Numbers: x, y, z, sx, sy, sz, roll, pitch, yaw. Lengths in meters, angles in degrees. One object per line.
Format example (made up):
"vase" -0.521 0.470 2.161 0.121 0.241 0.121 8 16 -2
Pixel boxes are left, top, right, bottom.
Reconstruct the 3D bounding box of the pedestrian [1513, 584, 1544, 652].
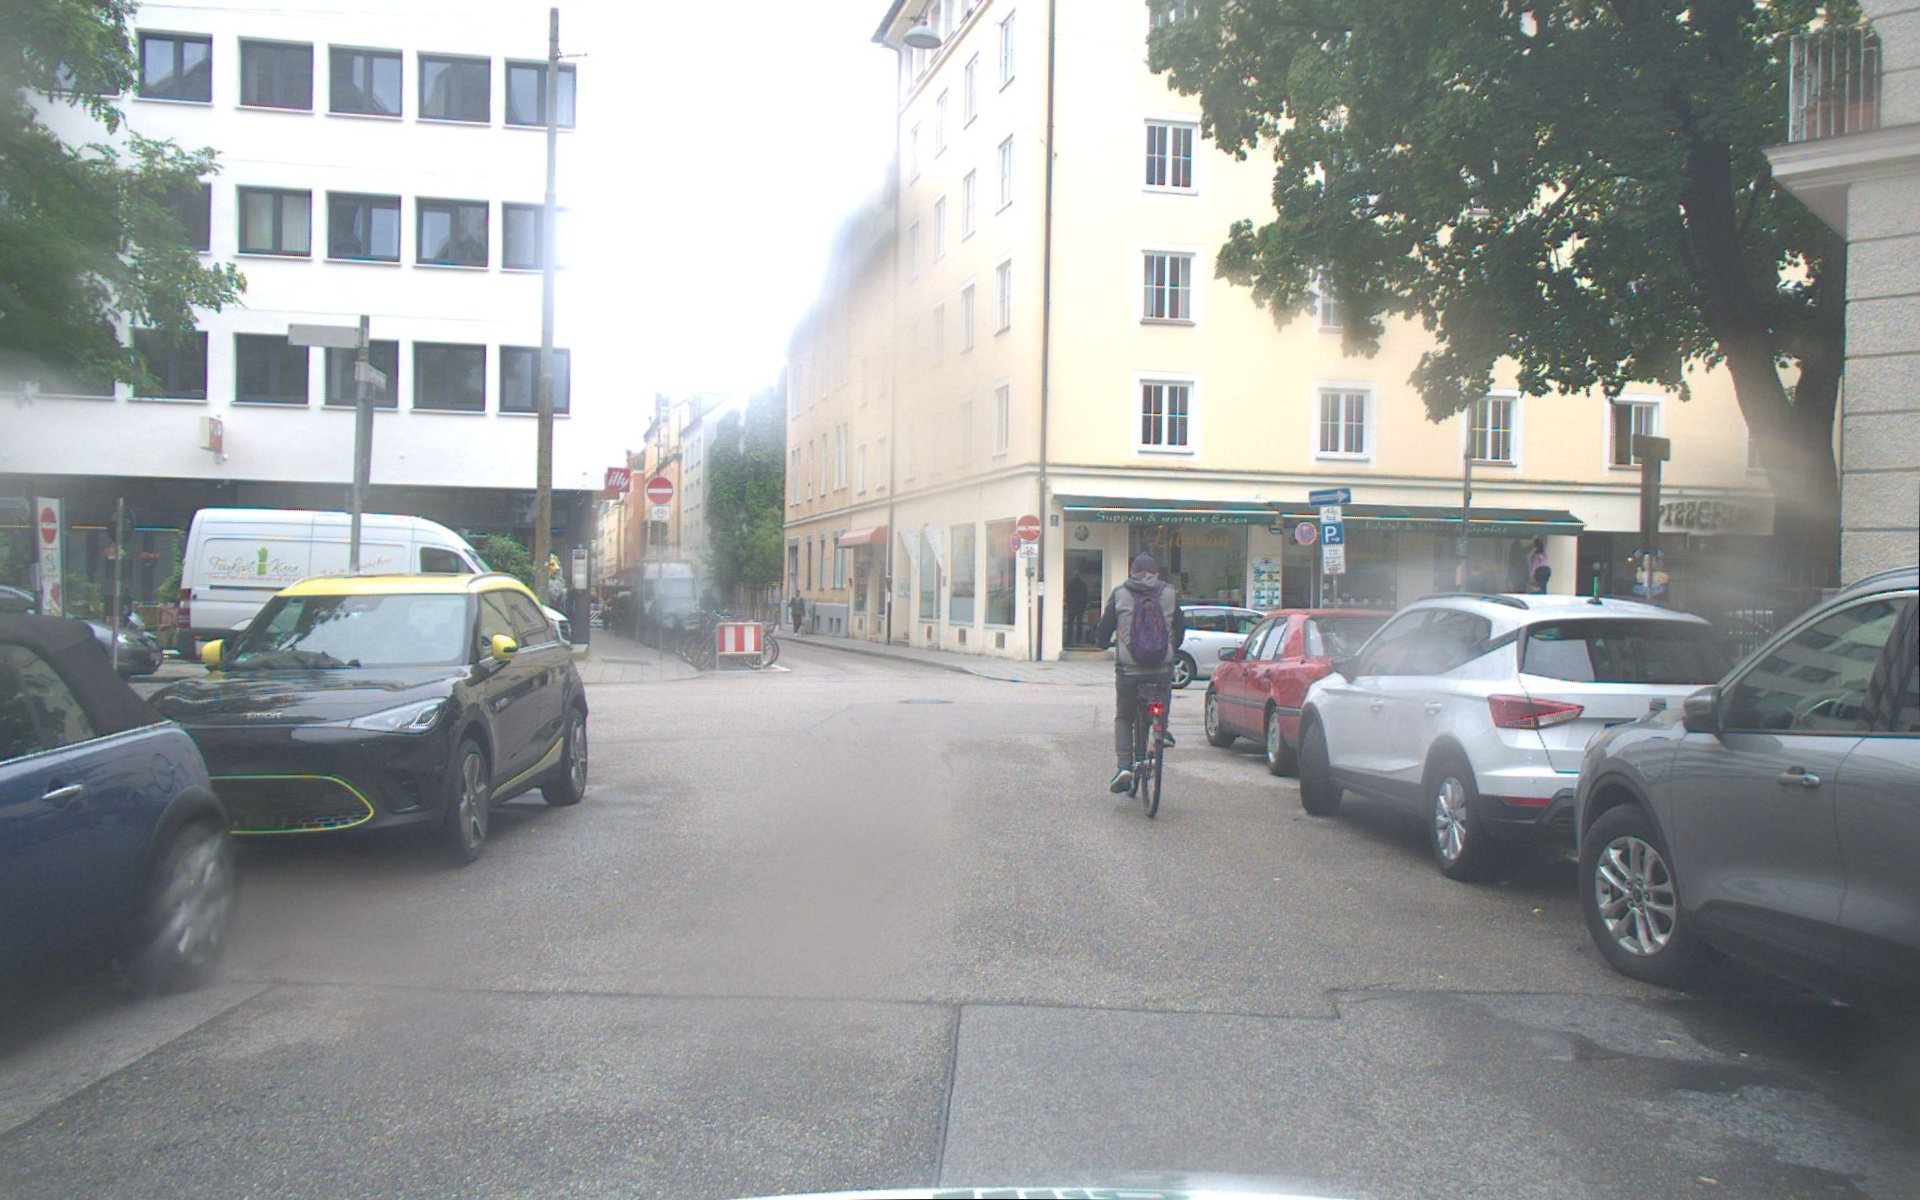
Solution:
"pedestrian" 13.254 0.415 38.578 0.428 1.578 0.530 1 0 -29

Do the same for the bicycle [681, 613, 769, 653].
"bicycle" -5.274 0.735 37.062 1.881 0.878 0.615 1 0 -18

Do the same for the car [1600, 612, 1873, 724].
"car" 11.312 0.973 24.199 3.260 1.513 1.625 1 1 -10

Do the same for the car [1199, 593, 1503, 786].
"car" 3.405 0.704 15.214 1.636 1.460 4.212 2 0 -2

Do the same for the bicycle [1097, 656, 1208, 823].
"bicycle" 1.317 0.935 11.564 0.626 1.022 1.574 1 0 2

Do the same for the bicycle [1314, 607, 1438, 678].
"bicycle" 8.089 0.826 32.187 2.045 1.275 1.104 2 1 -11

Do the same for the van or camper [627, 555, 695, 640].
"van or camper" -9.647 -0.091 53.093 1.959 2.584 4.746 1 0 -12

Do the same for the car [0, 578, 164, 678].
"car" -14.393 0.438 24.929 3.984 1.454 1.793 1 -2 -14

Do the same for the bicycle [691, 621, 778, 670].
"bicycle" -4.668 0.935 34.229 1.727 0.985 0.592 1 0 -18

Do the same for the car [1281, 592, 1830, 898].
"car" 3.392 0.728 10.279 1.716 1.522 3.905 1 0 -5

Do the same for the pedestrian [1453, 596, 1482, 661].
"pedestrian" 11.447 0.634 37.290 0.502 1.458 0.582 1 0 30

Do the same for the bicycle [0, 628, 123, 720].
"bicycle" -9.972 0.796 17.960 1.541 0.964 0.891 2 -2 -28

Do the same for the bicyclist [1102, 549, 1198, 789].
"bicyclist" 1.326 0.466 11.652 0.593 1.634 0.757 1 1 1

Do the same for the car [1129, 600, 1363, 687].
"car" 5.115 0.815 29.905 3.905 1.441 1.820 1 -3 -1

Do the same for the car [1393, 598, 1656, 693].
"car" 10.322 0.840 30.310 4.259 1.620 1.815 1 -2 -12

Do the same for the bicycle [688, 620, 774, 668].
"bicycle" -4.822 0.926 34.817 1.709 0.985 0.541 1 0 -18

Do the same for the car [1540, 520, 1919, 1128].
"car" 3.609 0.645 5.320 1.754 1.743 4.424 1 0 -3

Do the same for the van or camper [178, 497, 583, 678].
"van or camper" -9.035 -0.140 26.307 5.798 2.724 1.868 1 -2 -11

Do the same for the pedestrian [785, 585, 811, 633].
"pedestrian" -6.123 0.335 62.576 0.862 1.809 0.771 1 0 -13

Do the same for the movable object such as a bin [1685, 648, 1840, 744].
"movable object such as a bin" 7.835 0.923 16.203 0.882 0.858 1.218 1 0 -4

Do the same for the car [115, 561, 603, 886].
"car" -3.496 0.631 10.426 1.642 1.625 3.944 -1 0 -1

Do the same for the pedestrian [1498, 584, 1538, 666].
"pedestrian" 11.965 0.540 35.472 0.591 1.731 0.542 1 2 -10

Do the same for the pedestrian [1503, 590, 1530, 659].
"pedestrian" 12.789 0.556 38.025 0.544 1.564 0.434 2 2 21

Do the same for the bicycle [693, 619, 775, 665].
"bicycle" -4.939 0.908 36.136 1.709 0.985 0.541 1 0 -18

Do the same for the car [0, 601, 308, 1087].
"car" -3.648 0.729 4.989 1.671 1.414 4.001 -1 0 1

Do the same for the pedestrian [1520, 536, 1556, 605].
"pedestrian" 13.700 -0.696 39.226 0.542 1.602 0.576 2 0 -12

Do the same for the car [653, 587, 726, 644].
"car" -7.740 0.415 47.092 1.801 1.562 3.986 1 0 -13
